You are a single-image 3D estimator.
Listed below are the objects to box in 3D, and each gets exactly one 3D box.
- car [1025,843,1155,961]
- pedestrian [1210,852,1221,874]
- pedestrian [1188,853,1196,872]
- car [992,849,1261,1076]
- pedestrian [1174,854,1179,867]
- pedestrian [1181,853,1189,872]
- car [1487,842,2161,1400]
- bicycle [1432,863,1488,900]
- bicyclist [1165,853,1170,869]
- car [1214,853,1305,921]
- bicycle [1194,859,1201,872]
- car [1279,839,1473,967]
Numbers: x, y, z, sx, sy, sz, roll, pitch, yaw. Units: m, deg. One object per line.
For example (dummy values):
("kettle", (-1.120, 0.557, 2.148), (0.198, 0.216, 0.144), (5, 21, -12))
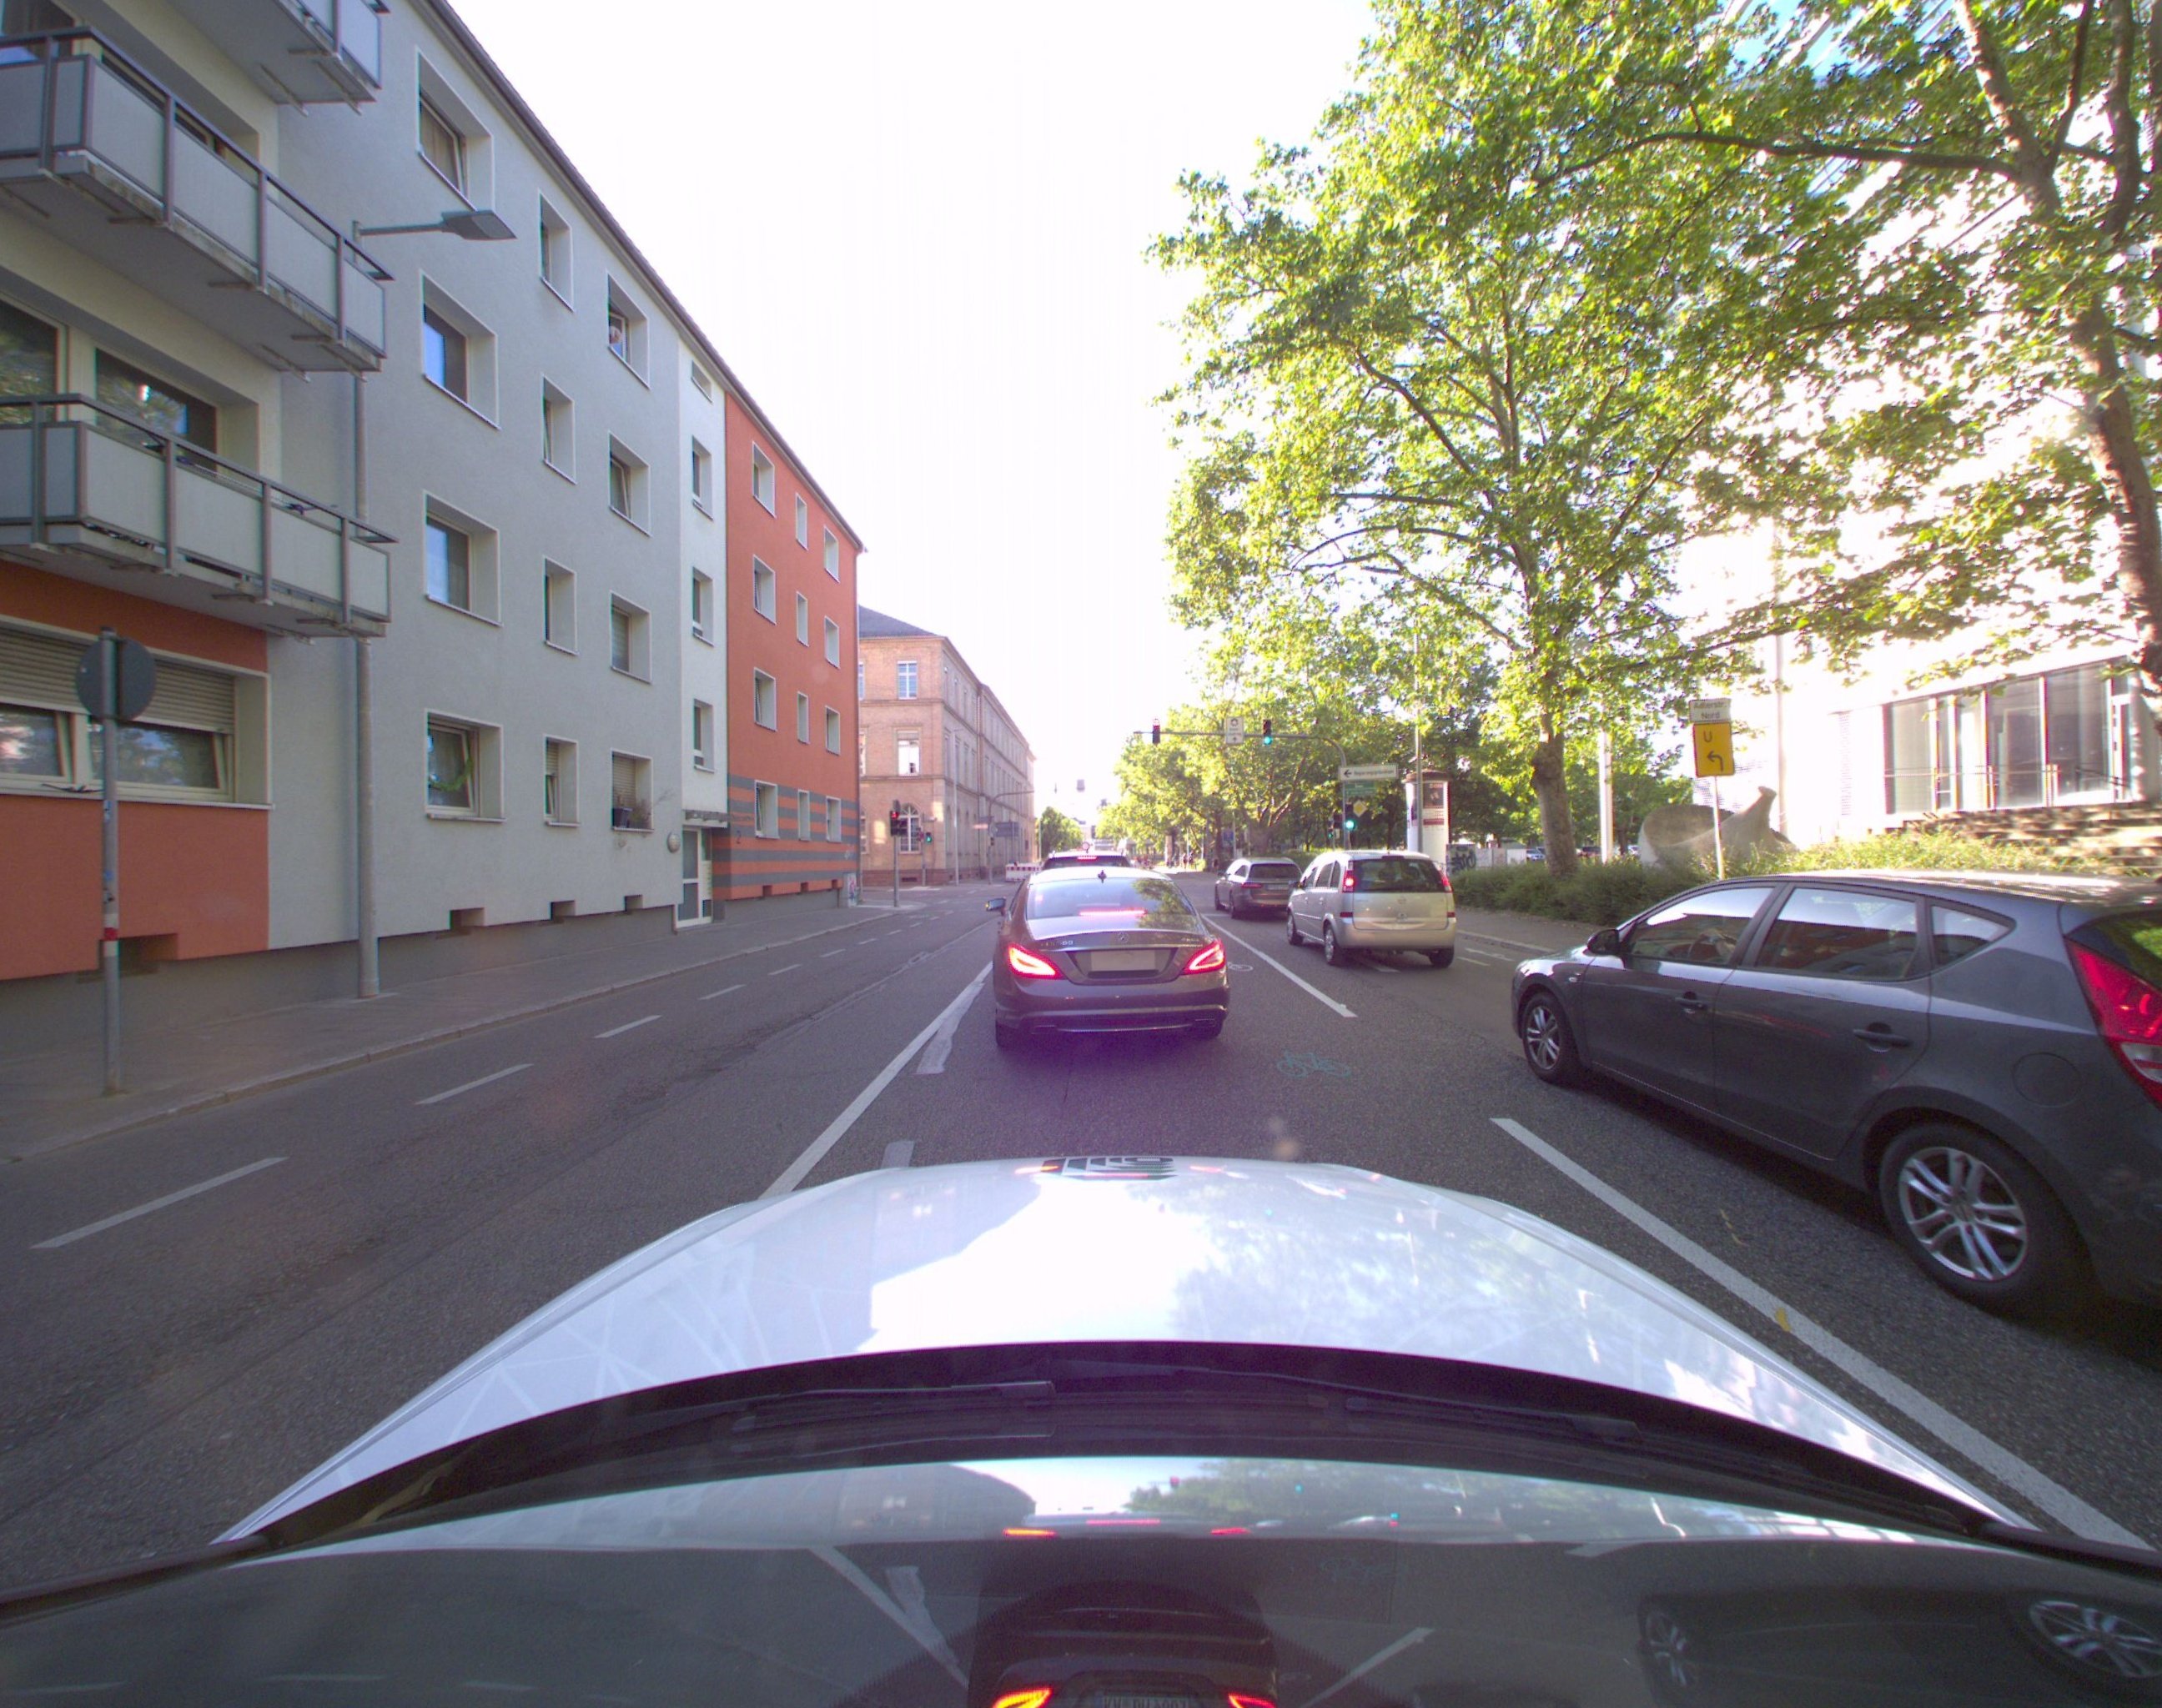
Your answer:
("car", (0.192, 0.697, 13.737), (1.854, 1.682, 4.002), (-1, 0, 2))
("pedestrian", (9.852, 0.668, 59.789), (0.634, 1.545, 0.909), (0, -1, -2))
("pedestrian", (10.582, 0.806, 77.826), (0.634, 1.760, 0.698), (0, -1, -2))
("car", (0.144, 0.738, 7.603), (1.859, 1.519, 3.992), (-1, 0, -6))
("pedestrian", (10.574, 0.730, 90.162), (0.554, 1.509, 0.345), (0, -1, -3))
("pedestrian", (9.923, 0.807, 77.970), (0.634, 1.797, 0.698), (0, -1, -2))
("car", (3.848, 0.720, 4.116), (1.698, 1.519, 4.002), (-1, 0, 2))
("bicycle", (10.983, 0.777, 23.577), (1.895, 1.028, 0.635), (0, -1, -36))
("bicyclist", (11.112, 0.845, 104.916), (0.593, 2.039, 0.566), (0, -1, -3))
("car", (4.380, 0.772, 20.450), (1.595, 1.549, 3.682), (0, -1, 2))
("bicycle", (11.087, 1.080, 77.799), (0.480, 1.202, 1.607), (0, -1, 2))
("car", (4.298, 0.656, 12.484), (1.725, 1.662, 3.682), (0, -1, 2))
